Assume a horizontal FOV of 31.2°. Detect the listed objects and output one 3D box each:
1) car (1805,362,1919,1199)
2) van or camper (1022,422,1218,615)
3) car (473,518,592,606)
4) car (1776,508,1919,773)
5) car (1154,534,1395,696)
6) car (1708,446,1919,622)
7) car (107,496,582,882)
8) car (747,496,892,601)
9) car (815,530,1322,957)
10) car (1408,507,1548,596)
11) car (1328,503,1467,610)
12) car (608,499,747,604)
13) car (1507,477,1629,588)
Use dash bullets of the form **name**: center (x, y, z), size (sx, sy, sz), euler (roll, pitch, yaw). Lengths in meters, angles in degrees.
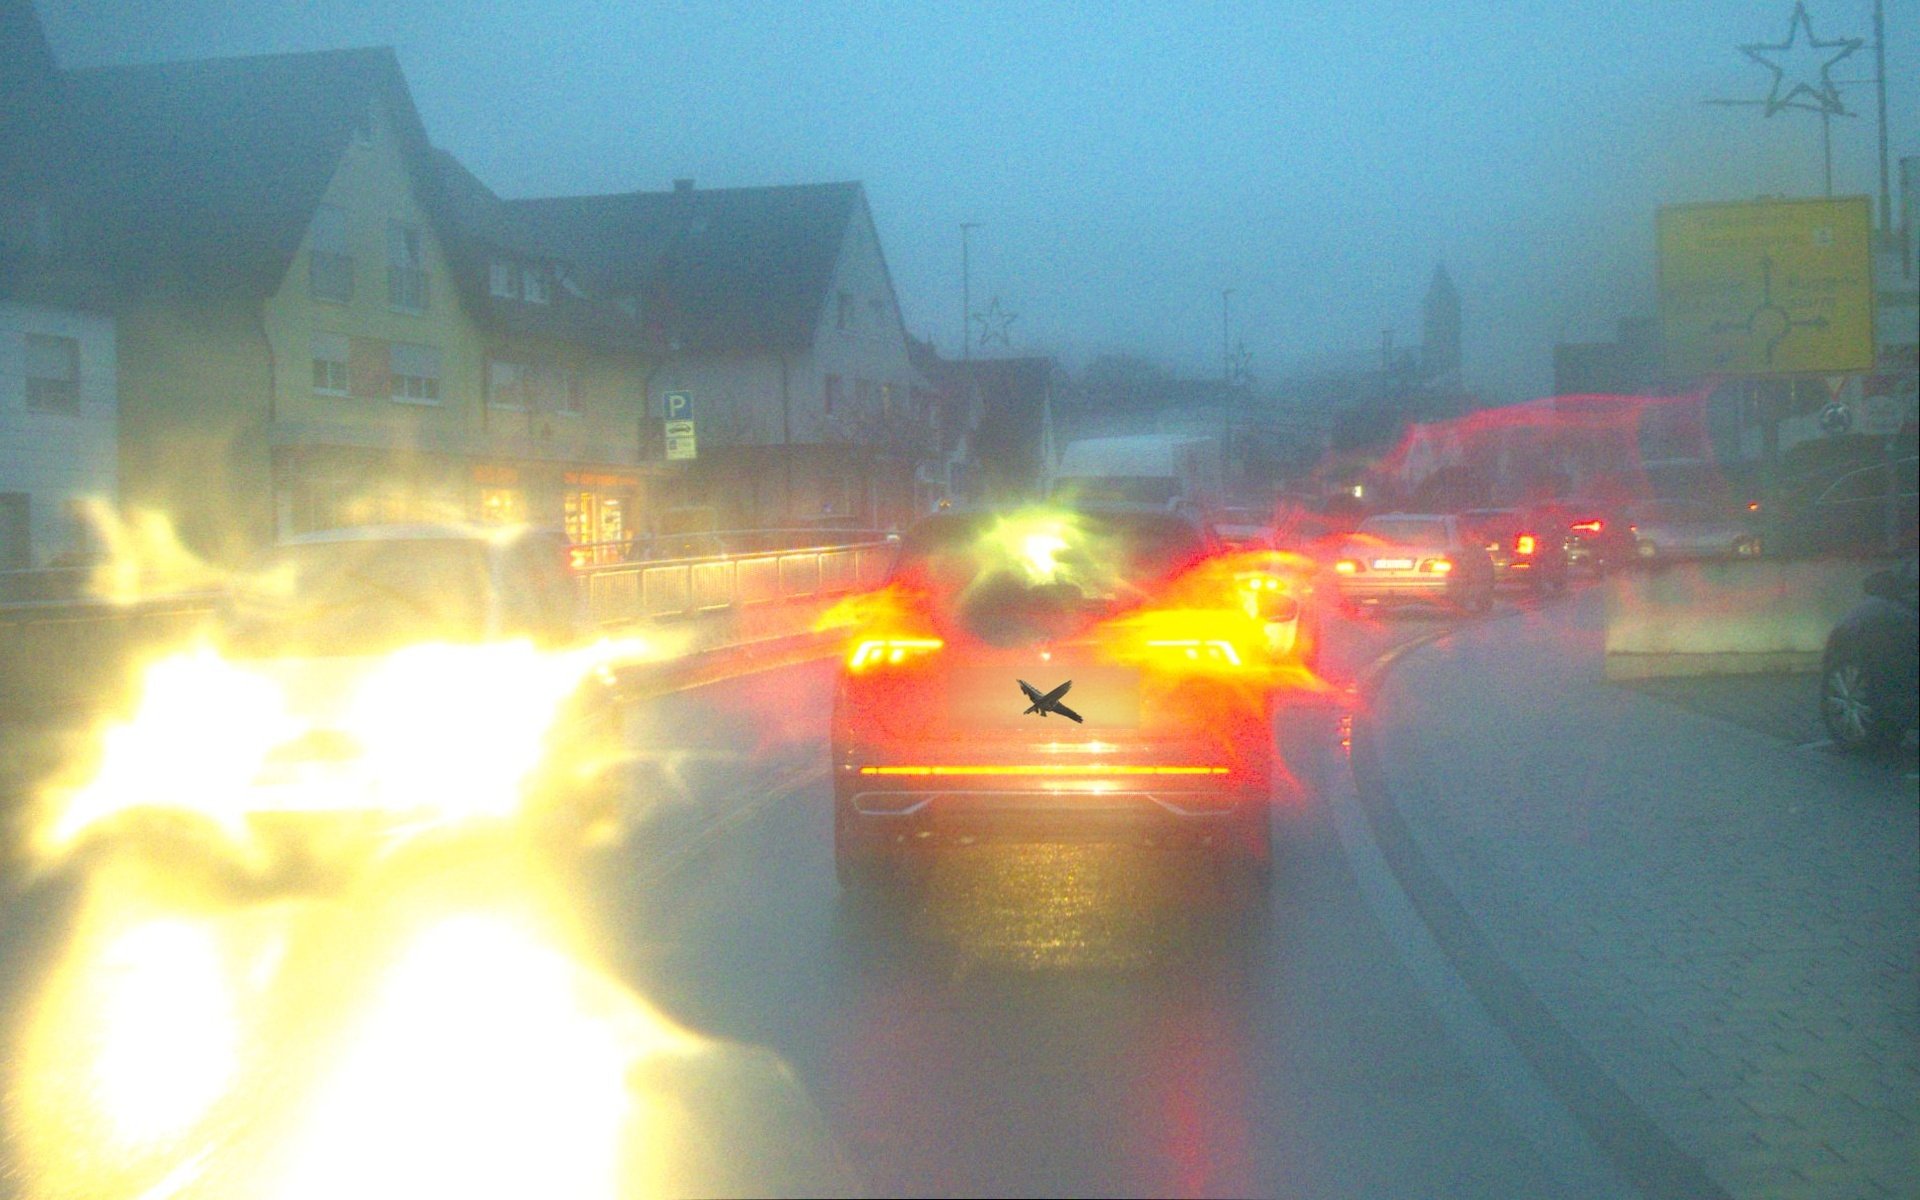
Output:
- **car**: center (2.419, 0.470, 4.452), size (1.769, 1.776, 4.000), euler (-4, 1, 3)
- **van or camper**: center (2.502, -1.245, 51.883), size (2.241, 2.660, 6.553), euler (-2, 1, 8)
- **car**: center (-8.394, -0.764, 67.218), size (1.821, 1.607, 4.058), euler (-2, 2, -13)
- **car**: center (5.934, 0.175, 18.460), size (1.765, 1.389, 3.915), euler (-3, 1, -6)
- **car**: center (3.066, 0.097, 32.854), size (1.683, 1.448, 3.998), euler (0, 1, 14)
- **car**: center (10.653, -0.878, 38.292), size (4.176, 1.633, 1.804), euler (-8, 1, 6)
- **car**: center (-2.819, 0.340, 16.441), size (1.662, 1.630, 3.551), euler (-1, 1, -1)
- **car**: center (-2.772, -1.023, 67.118), size (2.037, 1.919, 4.058), euler (-2, 2, -13)
- **car**: center (0.380, 0.515, 15.495), size (1.964, 1.589, 4.314), euler (0, 2, -1)
- **car**: center (8.875, -0.851, 58.639), size (1.995, 1.387, 3.998), euler (-1, 2, 14)
- **car**: center (6.212, -0.648, 48.525), size (1.815, 1.407, 3.999), euler (0, 2, 9)
- **car**: center (-5.520, -0.952, 66.714), size (2.037, 1.919, 4.058), euler (-2, 2, -13)
- **car**: center (12.082, -1.354, 68.471), size (2.158, 1.984, 4.498), euler (-4, 1, 10)
